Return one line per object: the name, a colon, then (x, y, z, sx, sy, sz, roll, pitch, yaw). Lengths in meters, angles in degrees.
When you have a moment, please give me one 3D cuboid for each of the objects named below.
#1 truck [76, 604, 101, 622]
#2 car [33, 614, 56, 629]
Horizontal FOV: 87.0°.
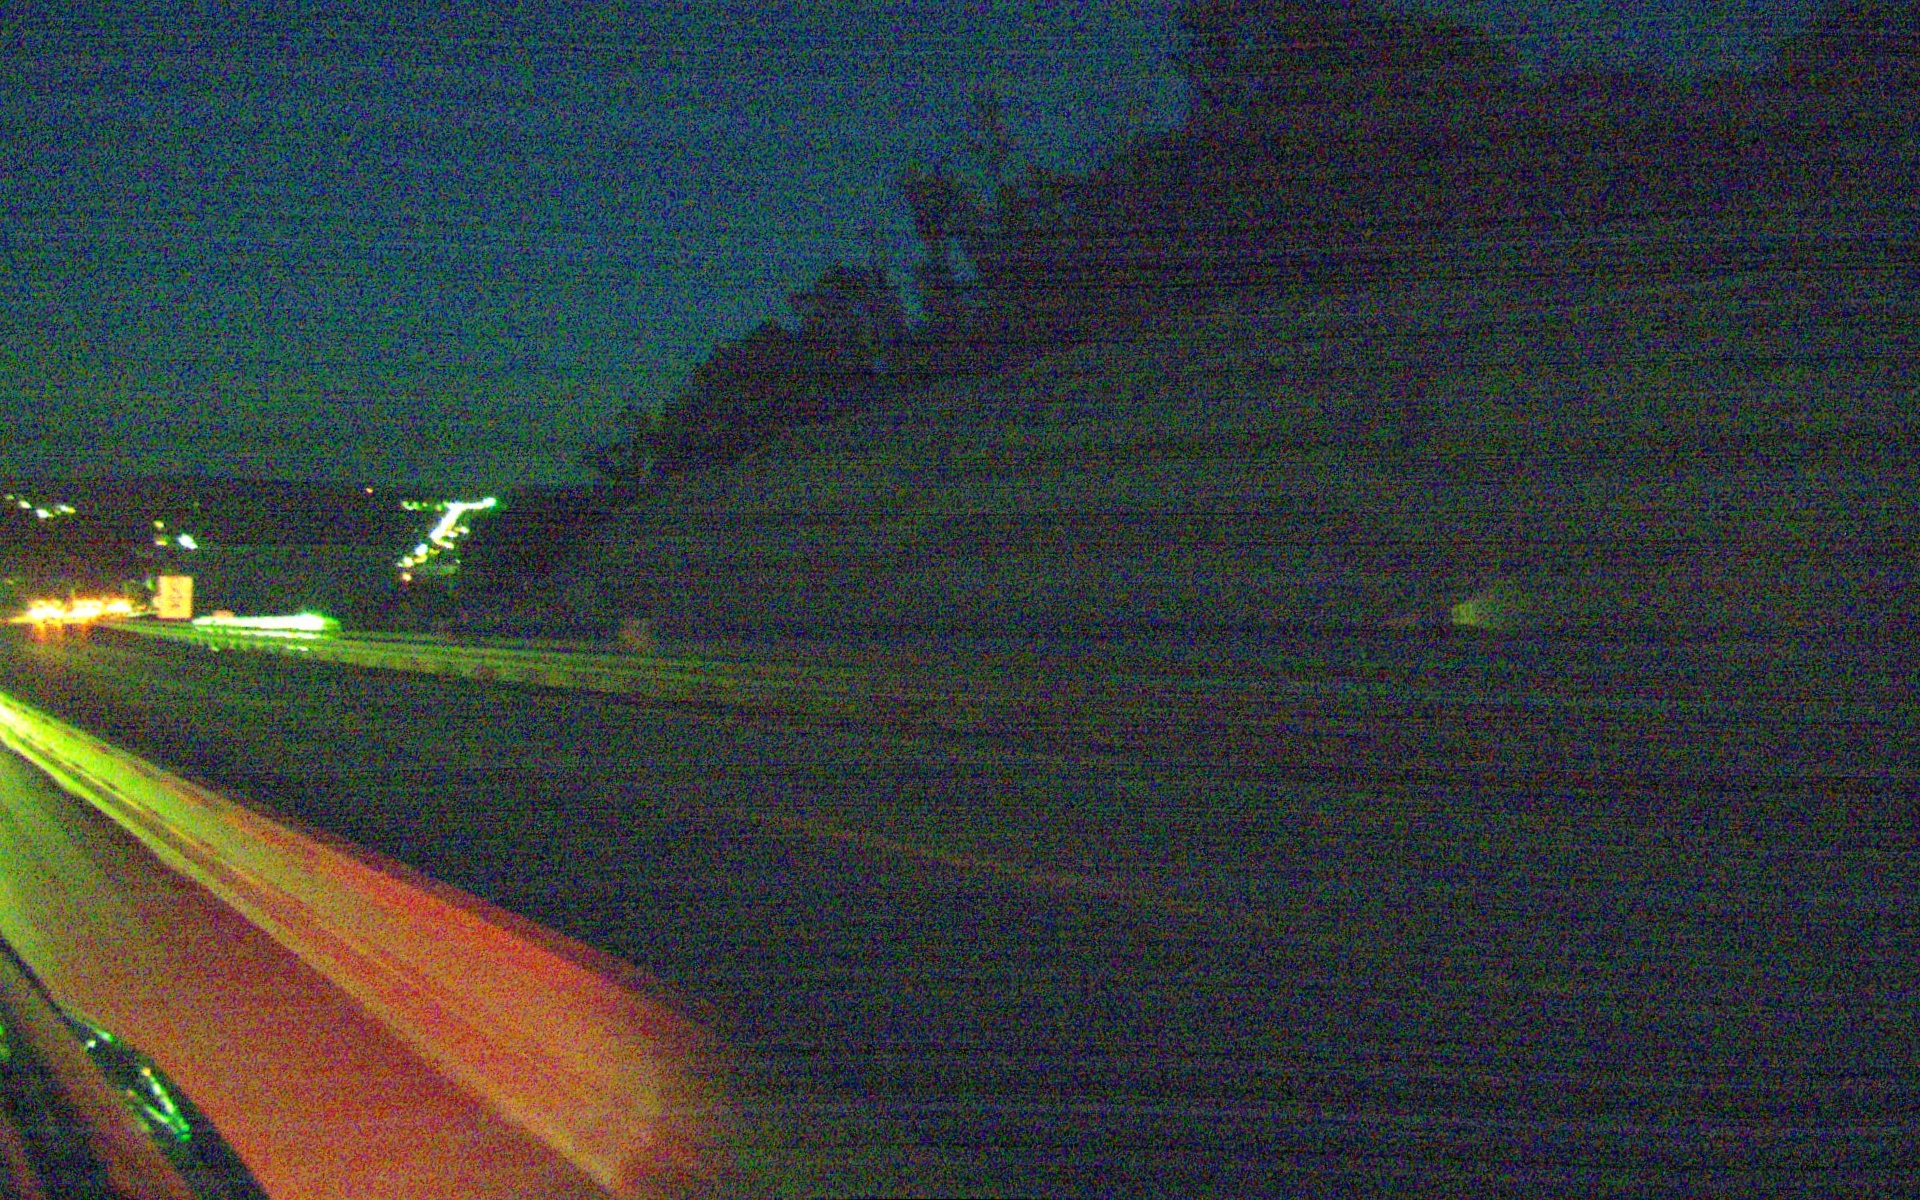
truck: (-127.509, 1.894, 148.144, 2.271, 2.493, 6.287, 0, 0, -36)
car: (-98.767, 2.292, 109.189, 1.786, 1.529, 3.941, 0, -2, -41)
